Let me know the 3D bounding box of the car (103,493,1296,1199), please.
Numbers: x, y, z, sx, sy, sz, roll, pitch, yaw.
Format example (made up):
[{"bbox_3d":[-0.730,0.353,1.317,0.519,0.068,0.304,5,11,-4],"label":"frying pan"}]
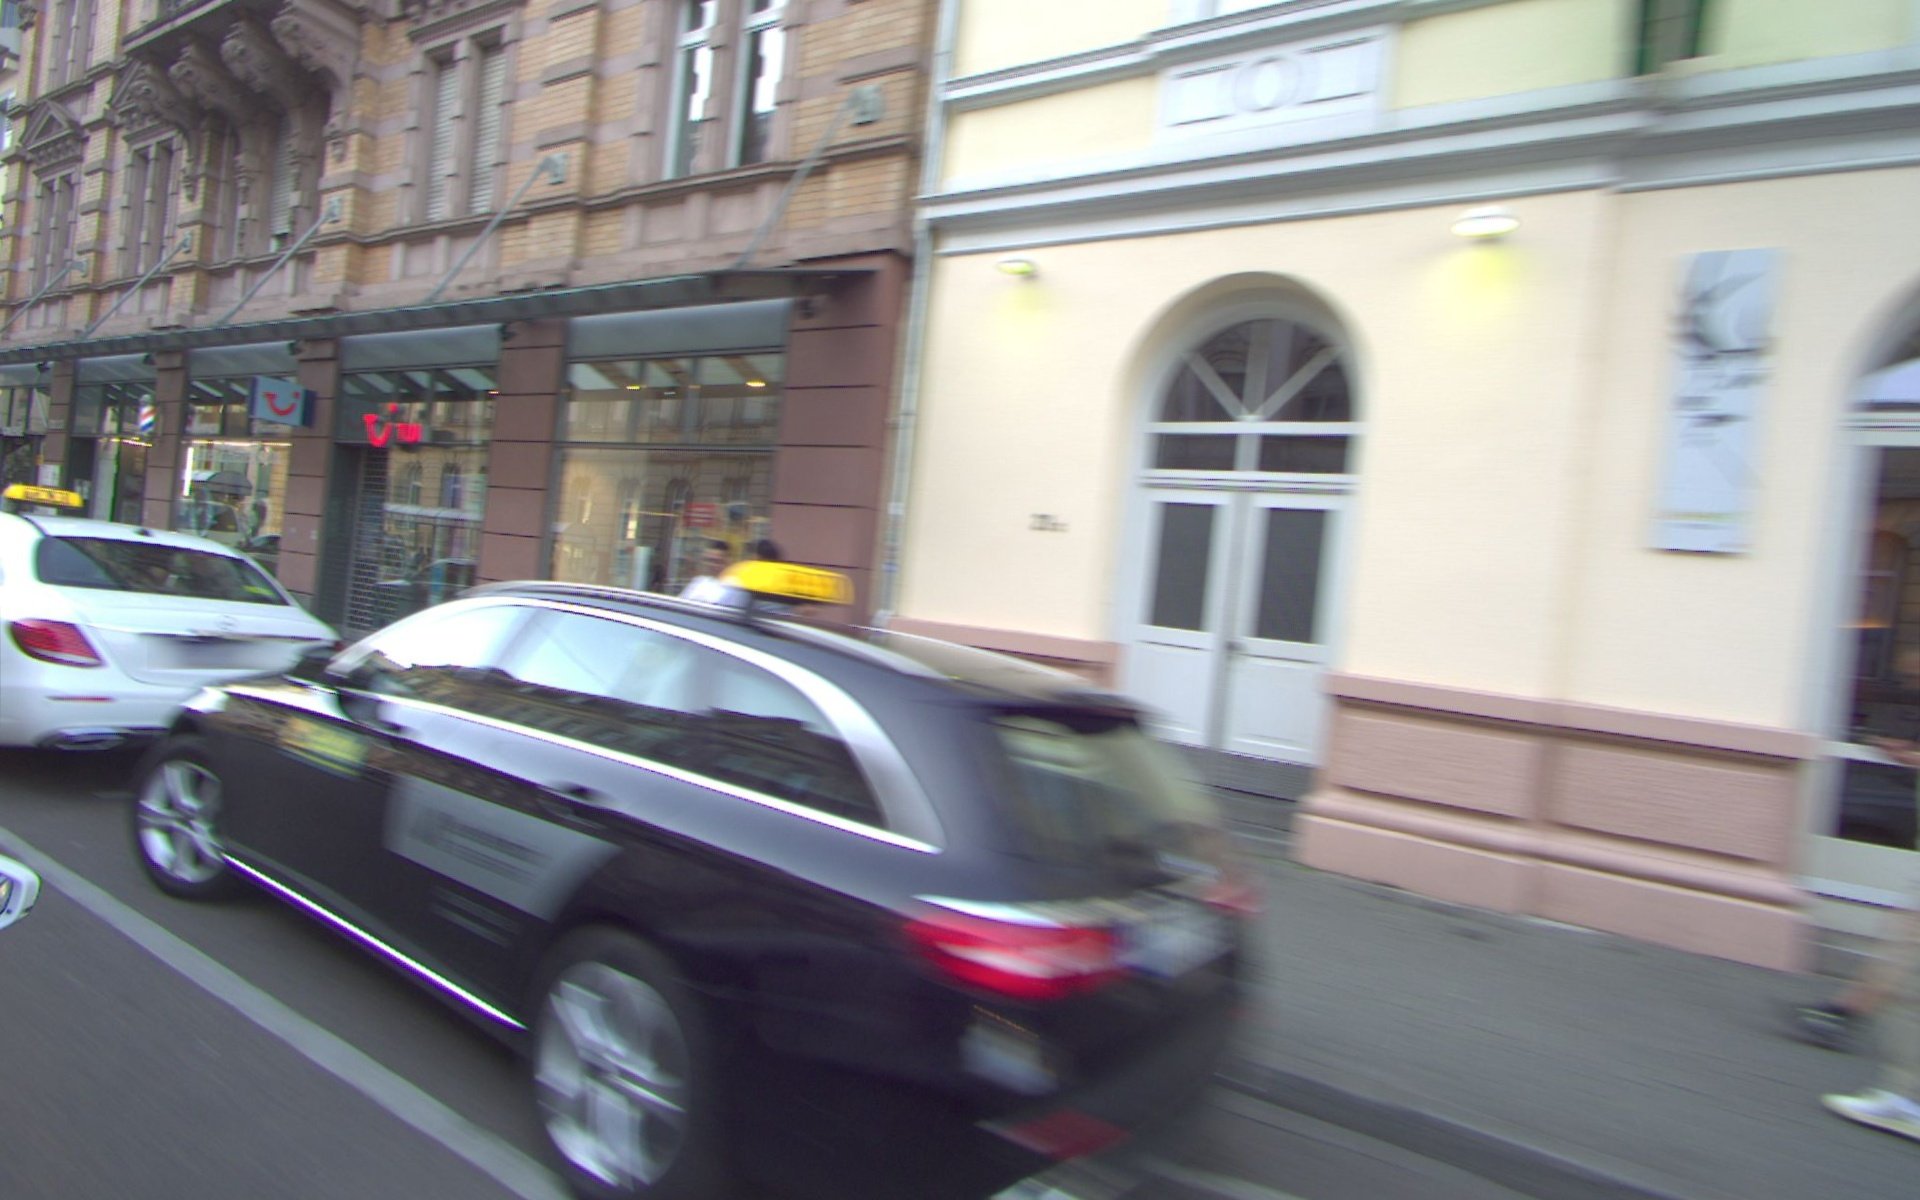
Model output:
[{"bbox_3d":[-1.272,0.607,3.764,4.372,1.608,1.735,5,-3,34],"label":"car"}]

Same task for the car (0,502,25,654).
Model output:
[{"bbox_3d":[-11.887,-0.480,10.538,4.740,1.494,1.729,6,-2,31],"label":"car"}]

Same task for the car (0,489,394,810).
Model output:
[{"bbox_3d":[-6.117,0.134,6.768,4.784,1.528,1.737,6,-3,31],"label":"car"}]

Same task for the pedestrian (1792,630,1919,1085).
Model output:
[{"bbox_3d":[3.965,1.017,4.144,0.542,1.713,0.759,7,5,31],"label":"pedestrian"}]

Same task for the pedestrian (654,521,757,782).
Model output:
[{"bbox_3d":[-1.828,0.358,7.227,0.448,1.792,0.373,6,2,28],"label":"pedestrian"}]

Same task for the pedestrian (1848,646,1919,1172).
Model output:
[{"bbox_3d":[3.418,1.002,3.337,0.616,1.713,0.480,0,6,-43],"label":"pedestrian"}]

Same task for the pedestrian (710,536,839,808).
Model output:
[{"bbox_3d":[-1.298,0.481,7.029,0.652,1.792,0.373,6,2,28],"label":"pedestrian"}]
